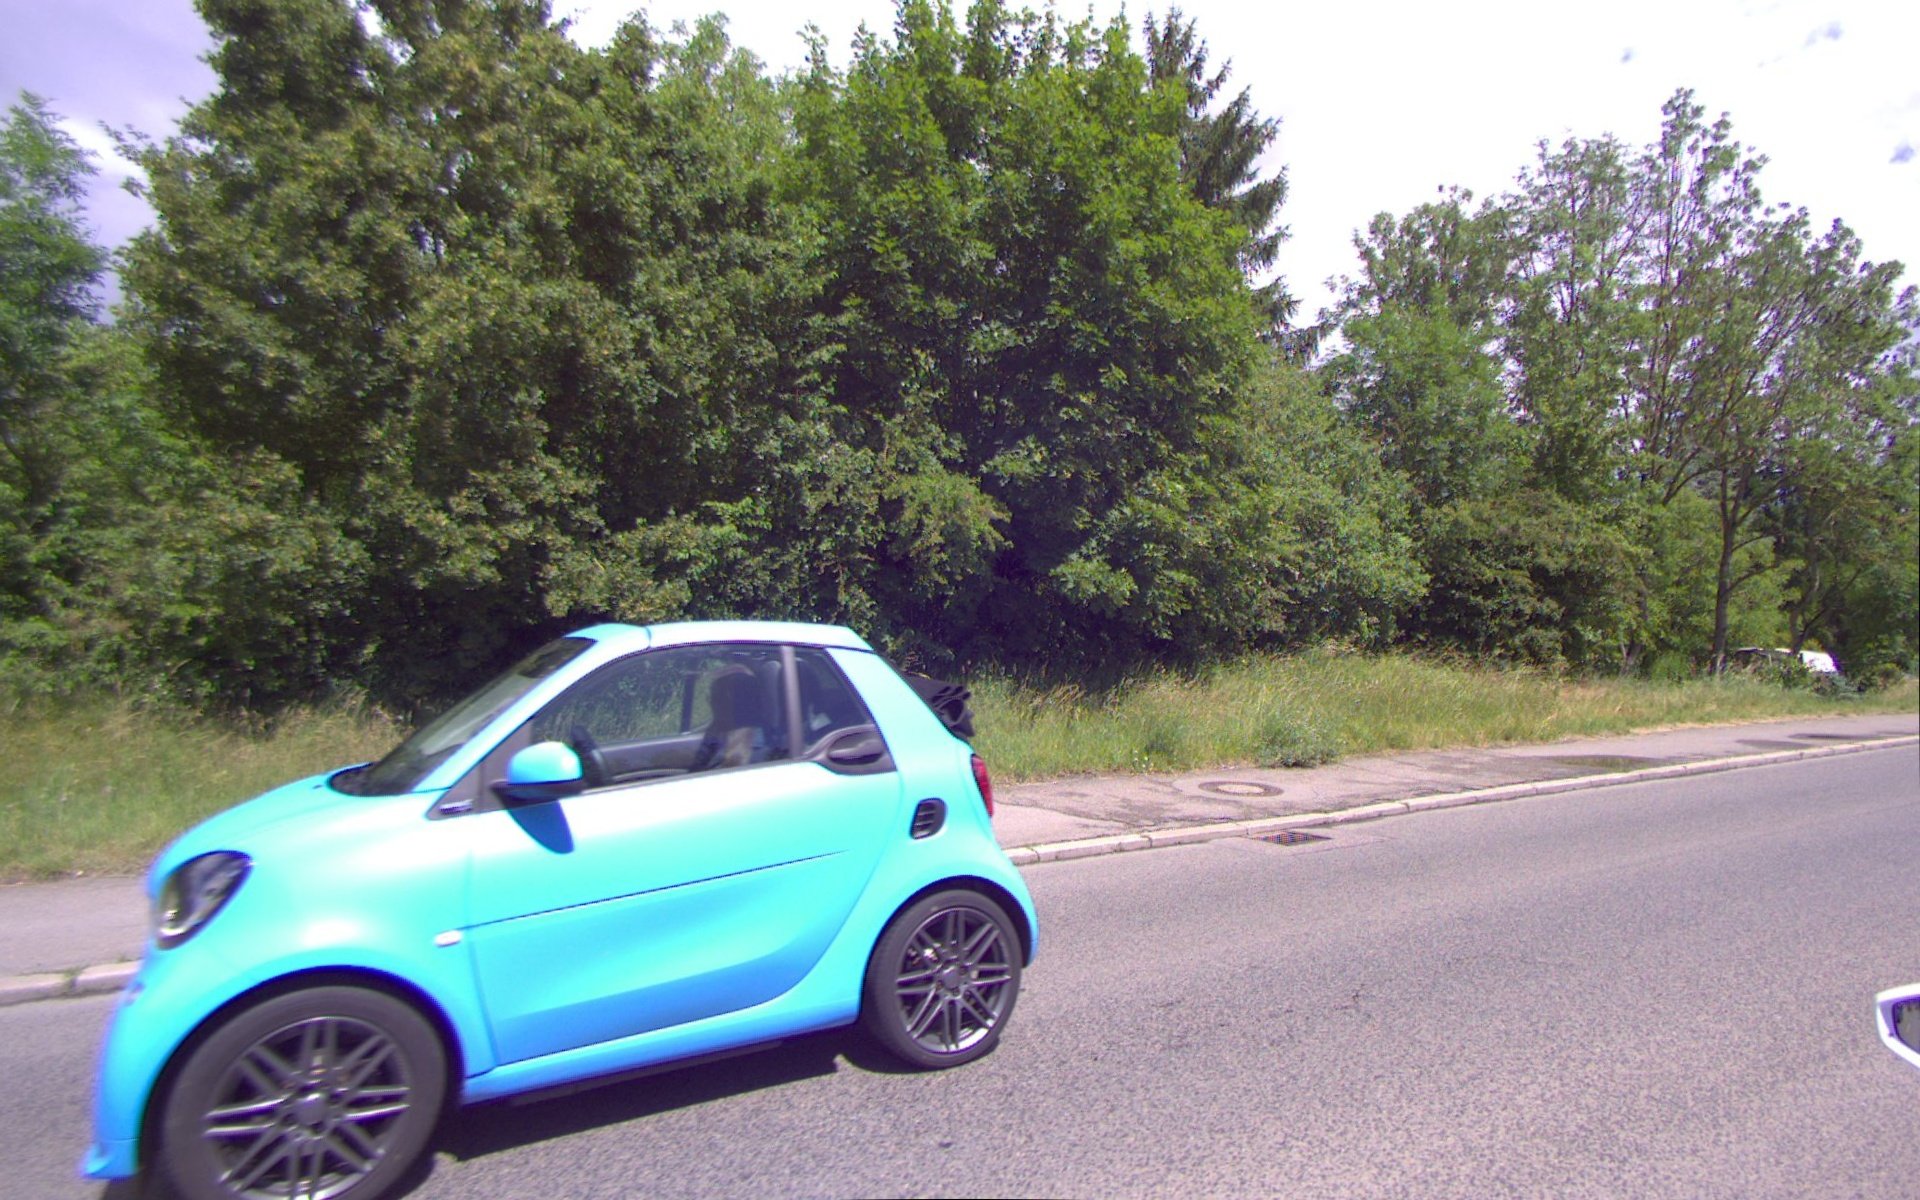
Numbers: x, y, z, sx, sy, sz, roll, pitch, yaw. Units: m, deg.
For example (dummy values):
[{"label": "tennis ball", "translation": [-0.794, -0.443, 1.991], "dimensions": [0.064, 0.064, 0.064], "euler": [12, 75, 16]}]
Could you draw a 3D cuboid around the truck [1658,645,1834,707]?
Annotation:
[{"label": "truck", "translation": [35.930, 3.447, 46.203], "dimensions": [1.970, 2.643, 6.196], "euler": [1, -4, -21]}]

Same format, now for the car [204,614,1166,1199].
[{"label": "car", "translation": [-0.924, 0.836, 3.833], "dimensions": [2.933, 1.465, 1.775], "euler": [1, -3, -32]}]
